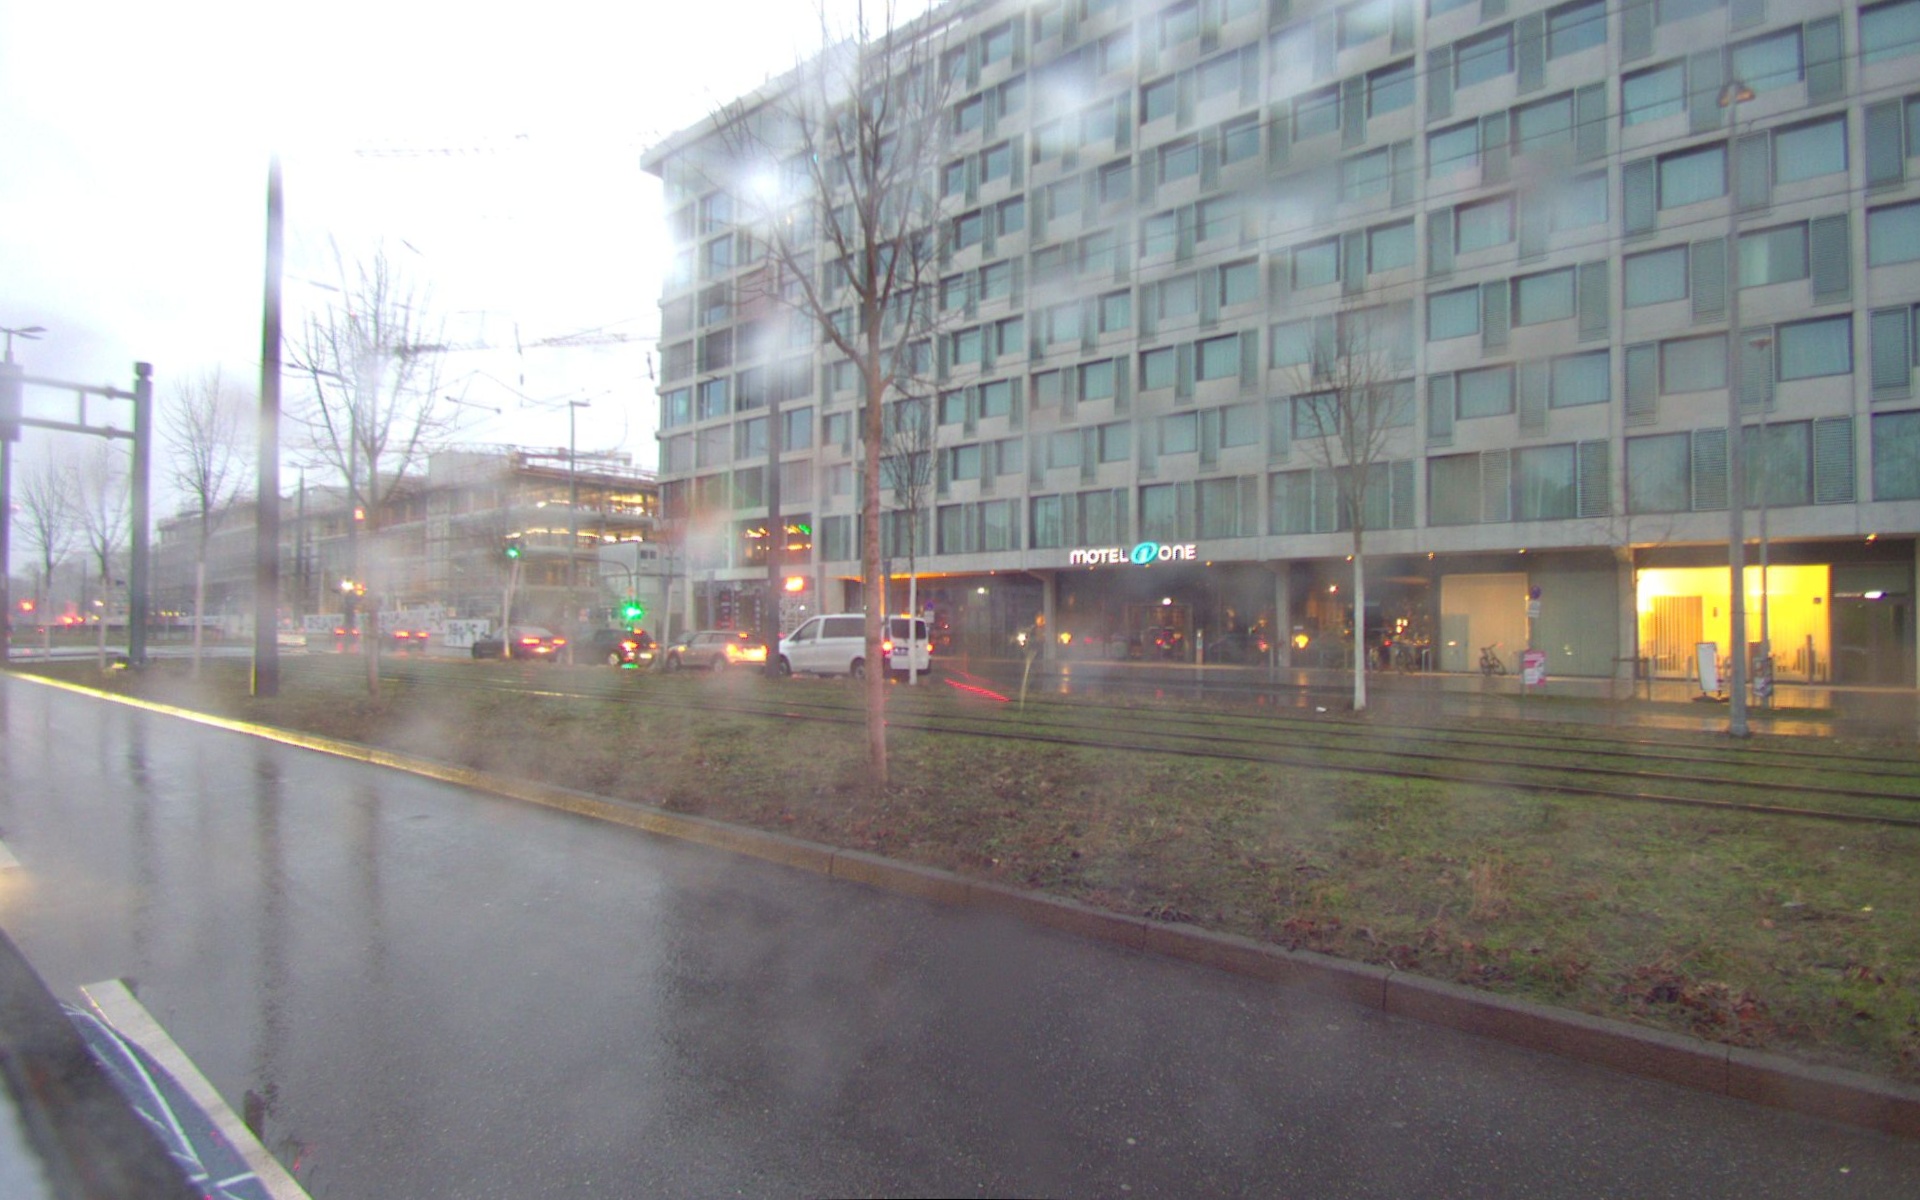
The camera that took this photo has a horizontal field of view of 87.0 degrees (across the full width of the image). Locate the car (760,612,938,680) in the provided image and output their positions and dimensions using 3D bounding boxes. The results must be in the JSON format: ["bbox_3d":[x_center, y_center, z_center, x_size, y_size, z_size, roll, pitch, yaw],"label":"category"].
[{"bbox_3d":[-3.134,1.229,27.839,5.114,1.732,1.876,-1,-3,40],"label":"car"}]

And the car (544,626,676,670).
[{"bbox_3d":[-12.756,1.723,36.866,4.425,1.508,1.983,-1,-2,26],"label":"car"}]

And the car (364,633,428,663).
[{"bbox_3d":[-34.964,2.934,62.671,4.914,1.732,1.876,-1,-2,41],"label":"car"}]

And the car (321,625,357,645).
[{"bbox_3d":[-55.416,3.108,90.244,1.872,1.732,4.923,2,-2,-41],"label":"car"}]

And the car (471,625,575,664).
[{"bbox_3d":[-17.828,1.769,41.189,5.032,1.479,1.972,-2,-3,42],"label":"car"}]

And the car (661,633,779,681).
[{"bbox_3d":[-7.705,1.774,32.408,3.704,1.442,1.876,-1,-3,41],"label":"car"}]
